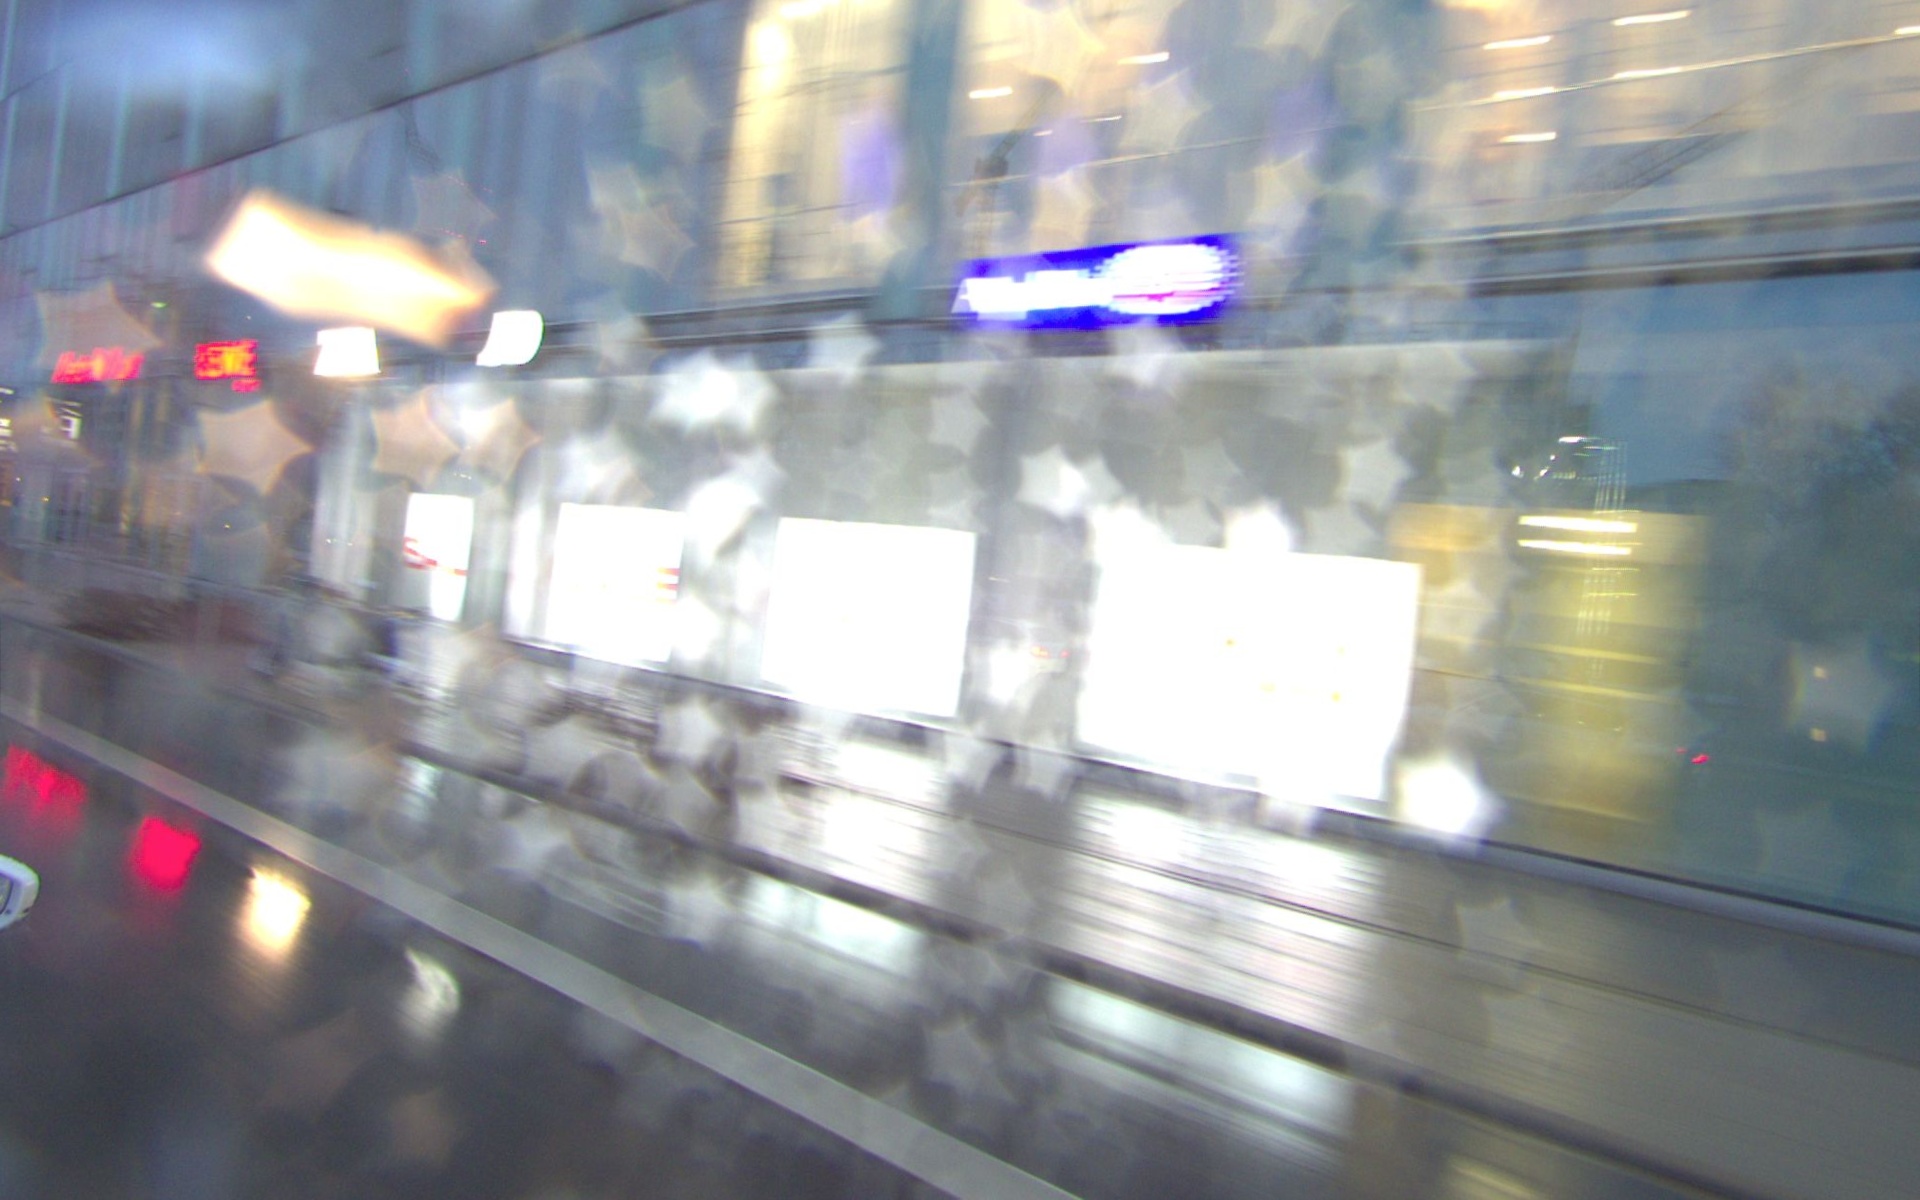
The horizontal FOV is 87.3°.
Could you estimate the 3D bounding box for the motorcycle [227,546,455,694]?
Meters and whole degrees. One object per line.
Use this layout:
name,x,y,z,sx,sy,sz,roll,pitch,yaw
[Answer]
motorcycle,-6.594,0.230,10.823,1.881,1.349,0.593,7,-1,-17
